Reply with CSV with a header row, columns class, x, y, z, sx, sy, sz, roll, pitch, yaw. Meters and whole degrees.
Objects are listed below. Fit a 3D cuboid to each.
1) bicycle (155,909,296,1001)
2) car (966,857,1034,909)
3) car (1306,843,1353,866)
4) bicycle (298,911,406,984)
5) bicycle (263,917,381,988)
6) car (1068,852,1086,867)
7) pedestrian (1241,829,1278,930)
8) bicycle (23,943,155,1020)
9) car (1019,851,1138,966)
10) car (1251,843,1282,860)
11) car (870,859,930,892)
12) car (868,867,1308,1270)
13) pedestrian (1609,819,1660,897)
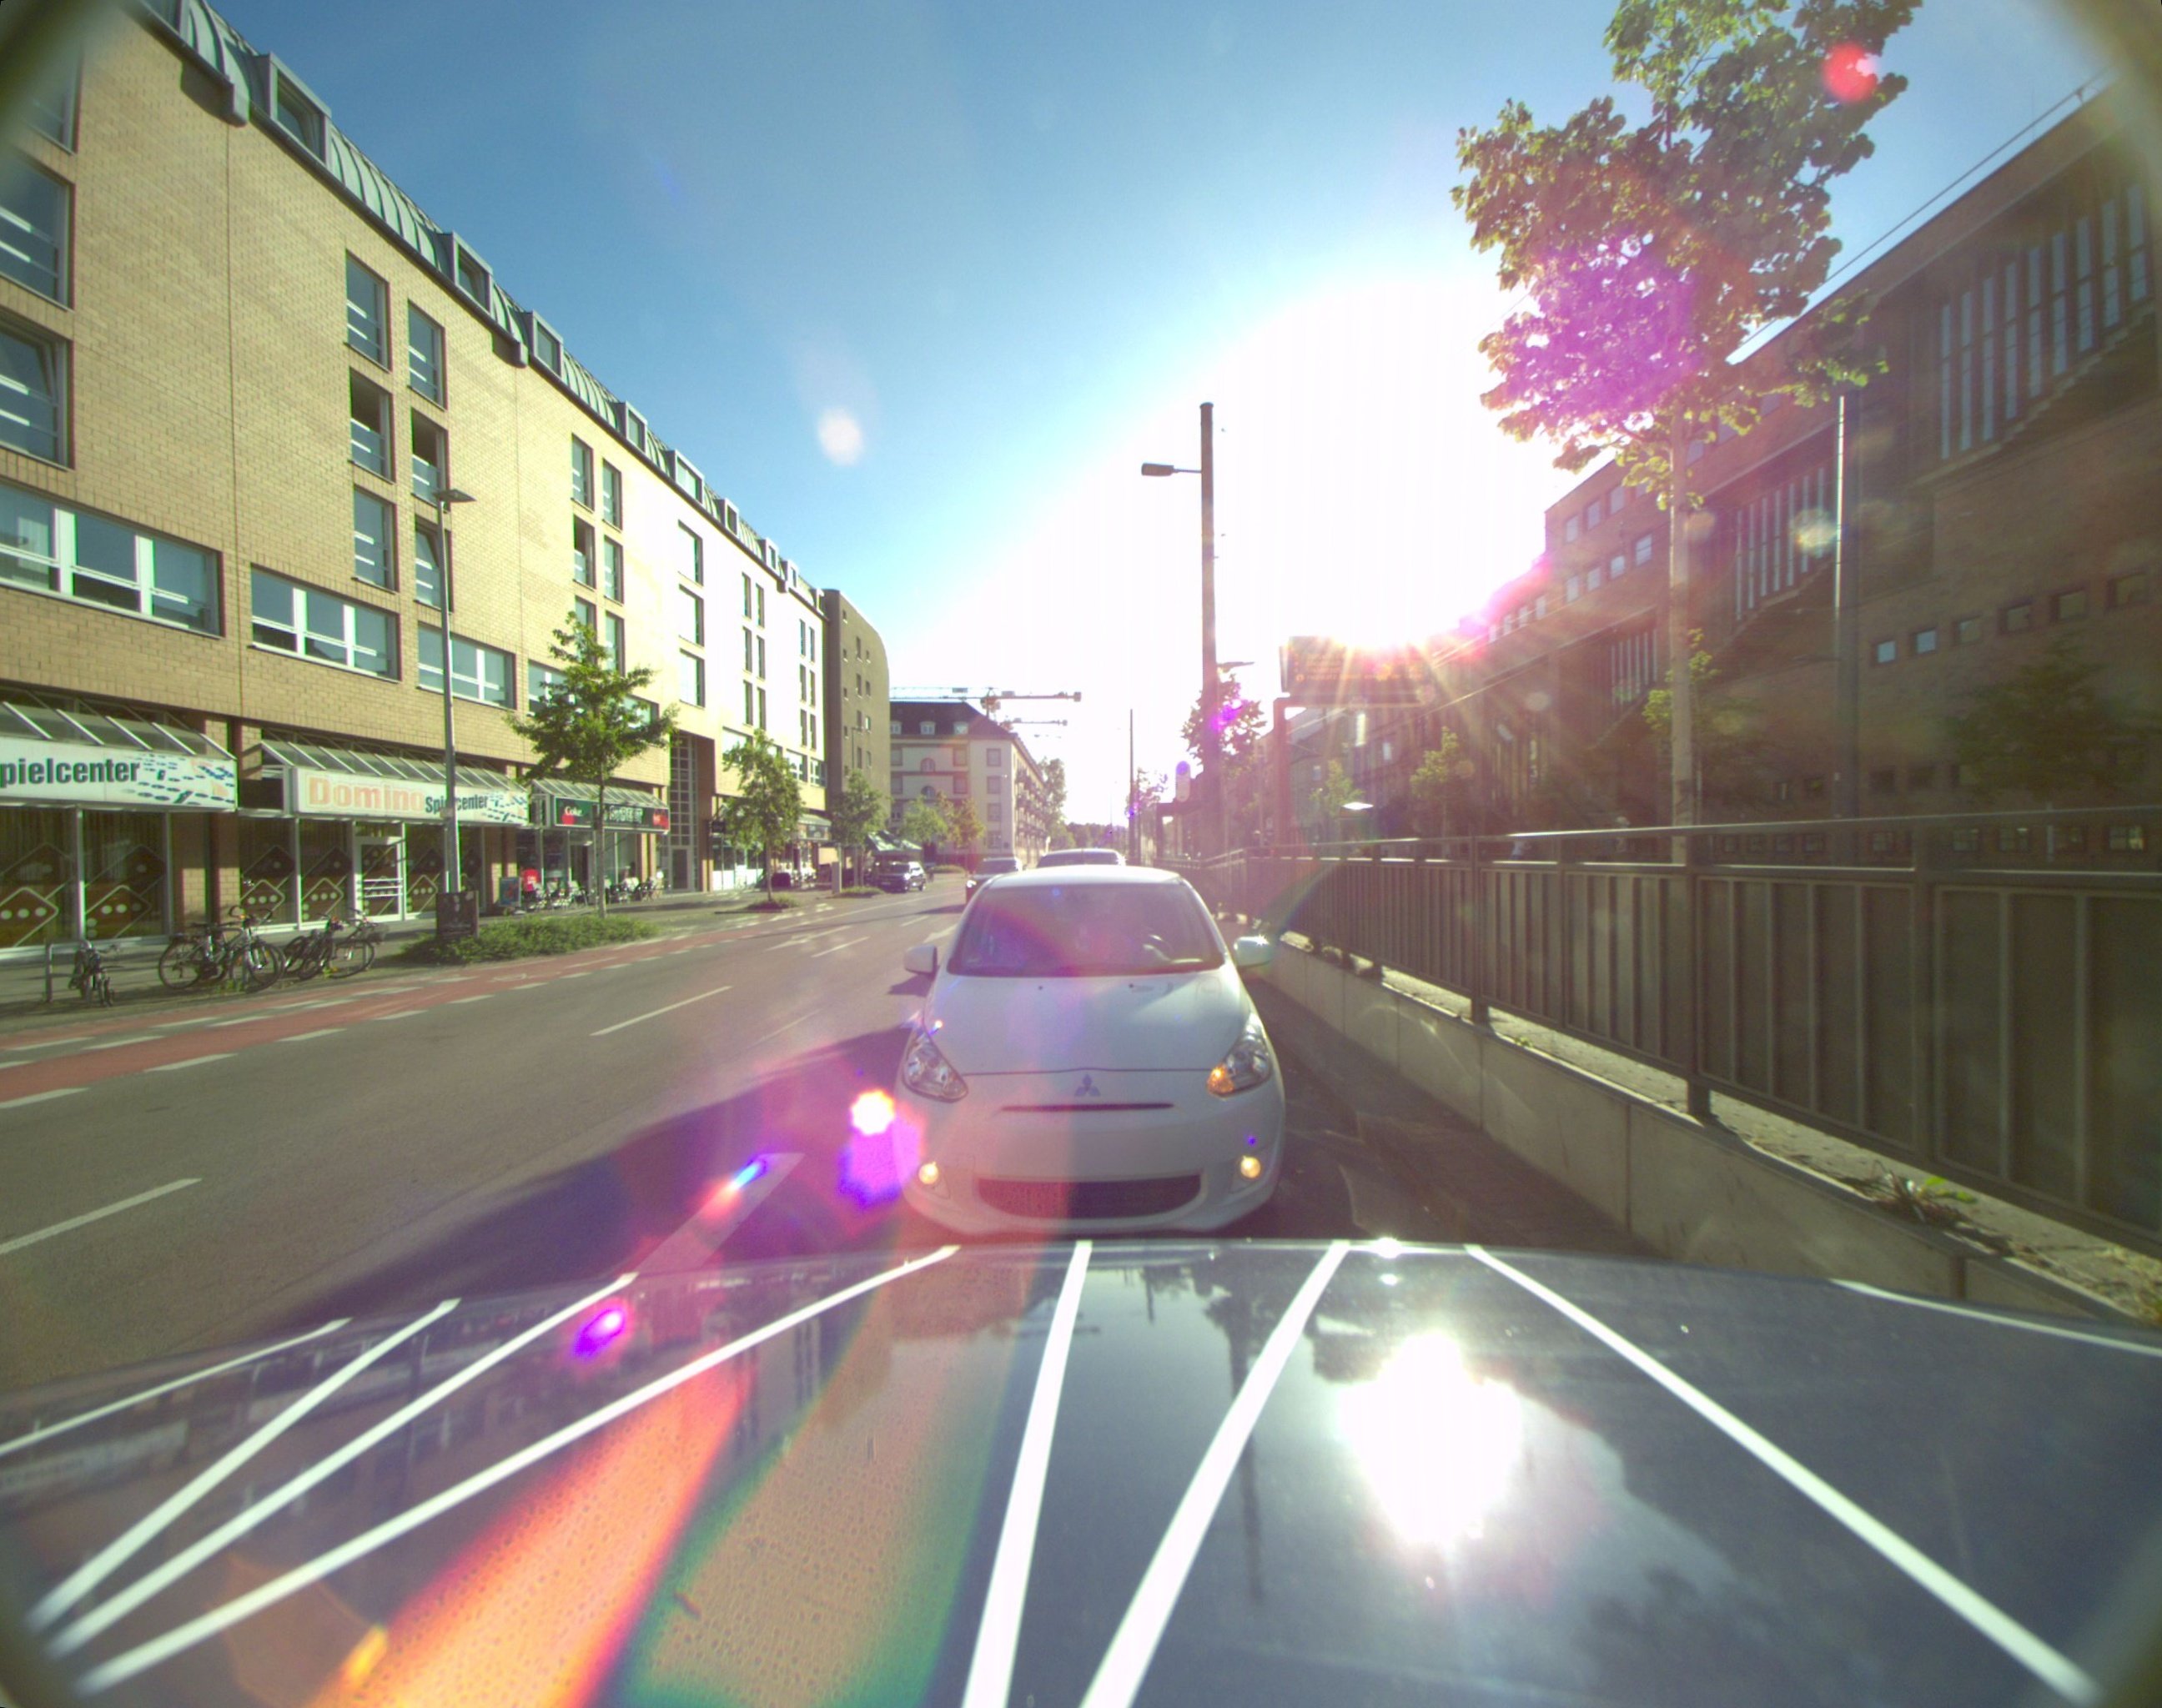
class,x,y,z,sx,sy,sz,roll,pitch,yaw
bicycle,-12.335,1.423,10.957,1.835,1.156,0.565,1,2,15
car,-2.813,0.948,27.225,1.808,1.586,4.453,-3,0,1
car,17.687,0.032,54.367,1.830,1.559,4.693,0,1,0
bicycle,-11.925,1.508,12.424,1.835,1.050,0.350,1,2,15
bicycle,-12.023,1.540,12.034,1.835,0.980,0.449,1,2,15
car,-0.547,0.679,98.923,2.164,1.904,4.472,-2,0,0
pedestrian,4.417,0.613,18.843,0.684,2.428,0.626,-2,2,-2
bicycle,-12.832,1.626,9.824,1.772,0.827,0.366,1,2,15
car,-0.047,0.817,13.480,1.720,1.591,4.215,-2,1,0
car,17.412,-0.282,71.384,1.830,1.559,4.240,0,1,-1
car,-9.816,1.146,41.593,1.778,1.630,4.002,-1,0,9
car,0.030,0.905,5.179,1.720,1.422,4.215,-2,1,0
pedestrian,13.052,0.088,17.934,0.685,1.797,0.668,-2,2,0
